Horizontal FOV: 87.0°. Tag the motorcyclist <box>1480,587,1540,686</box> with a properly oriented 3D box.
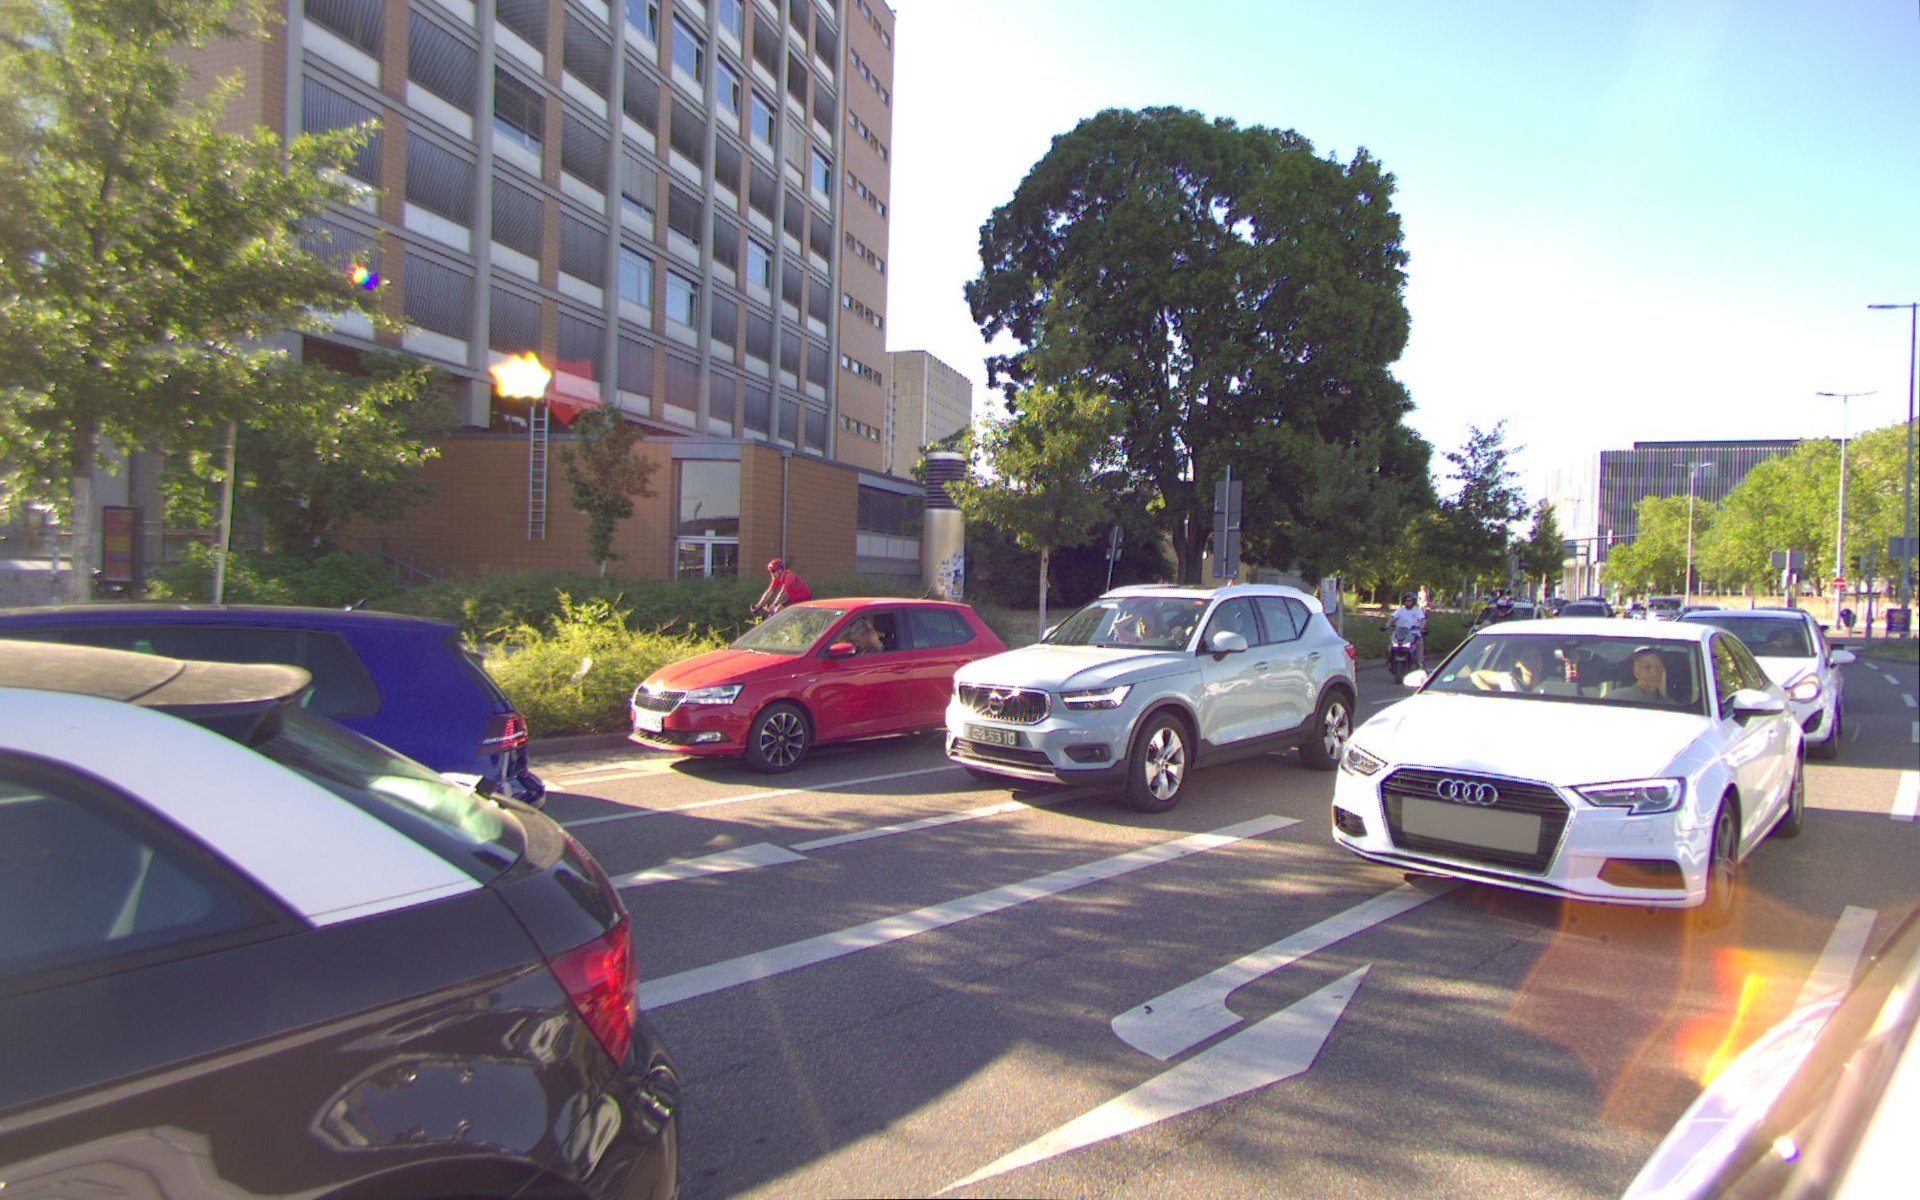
[{"bbox_3d":[9.205,0.595,16.937,0.709,1.610,0.679,0,0,45],"label":"motorcyclist"}]

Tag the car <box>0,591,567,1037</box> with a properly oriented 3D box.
[{"bbox_3d":[-3.726,0.686,3.758,3.930,1.422,1.626,-1,0,-41],"label":"car"}]

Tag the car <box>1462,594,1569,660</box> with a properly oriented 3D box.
[{"bbox_3d":[14.492,0.631,26.314,1.738,1.544,3.943,2,2,39],"label":"car"}]

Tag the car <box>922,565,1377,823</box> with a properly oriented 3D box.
[{"bbox_3d":[1.773,0.571,8.465,4.153,1.641,1.625,-1,0,-43],"label":"car"}]

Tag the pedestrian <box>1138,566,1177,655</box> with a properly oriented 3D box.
[{"bbox_3d":[4.315,0.226,22.078,0.681,1.910,0.465,0,0,-24],"label":"pedestrian"}]

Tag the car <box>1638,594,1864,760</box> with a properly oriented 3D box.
[{"bbox_3d":[8.872,0.691,11.231,1.623,1.478,3.979,0,1,43],"label":"car"}]

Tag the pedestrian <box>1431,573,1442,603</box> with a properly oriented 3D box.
[{"bbox_3d":[26.697,-0.671,56.699,0.543,1.627,0.598,0,0,30],"label":"pedestrian"}]

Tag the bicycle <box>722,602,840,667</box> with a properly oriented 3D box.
[{"bbox_3d":[-3.002,0.559,17.134,0.657,0.975,2.005,2,2,41],"label":"bicycle"}]

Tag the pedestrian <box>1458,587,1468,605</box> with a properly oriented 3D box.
[{"bbox_3d":[55.880,-0.475,112.495,0.828,2.039,1.061,0,0,19],"label":"pedestrian"}]

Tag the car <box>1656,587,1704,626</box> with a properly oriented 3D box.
[{"bbox_3d":[36.238,0.307,51.029,1.867,1.838,3.950,2,1,35],"label":"car"}]

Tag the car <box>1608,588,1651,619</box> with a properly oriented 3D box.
[{"bbox_3d":[40.264,0.173,60.922,1.730,1.727,3.961,2,1,28],"label":"car"}]

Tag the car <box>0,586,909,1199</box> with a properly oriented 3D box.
[{"bbox_3d":[-2.102,0.702,1.207,3.930,1.422,1.626,-1,0,-41],"label":"car"}]

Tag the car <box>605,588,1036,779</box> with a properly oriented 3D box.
[{"bbox_3d":[-1.193,0.632,9.850,3.974,1.478,1.625,-1,0,-43],"label":"car"}]

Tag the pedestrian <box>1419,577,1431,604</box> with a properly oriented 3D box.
[{"bbox_3d":[26.164,-0.541,56.924,0.543,1.549,0.598,0,0,30],"label":"pedestrian"}]

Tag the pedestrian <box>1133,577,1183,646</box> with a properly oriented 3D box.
[{"bbox_3d":[5.139,0.277,26.258,1.005,1.742,0.873,0,0,39],"label":"pedestrian"}]

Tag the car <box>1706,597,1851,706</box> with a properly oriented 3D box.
[{"bbox_3d":[13.110,0.713,16.127,1.622,1.478,3.981,0,0,42],"label":"car"}]

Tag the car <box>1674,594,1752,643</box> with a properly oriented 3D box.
[{"bbox_3d":[29.128,0.646,39.252,1.730,1.727,3.962,2,1,27],"label":"car"}]

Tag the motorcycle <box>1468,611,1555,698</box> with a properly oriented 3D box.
[{"bbox_3d":[9.292,0.868,17.011,0.716,1.321,2.199,0,0,44],"label":"motorcycle"}]

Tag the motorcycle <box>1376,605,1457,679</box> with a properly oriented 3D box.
[{"bbox_3d":[8.834,0.769,19.530,0.716,1.321,2.199,0,0,44],"label":"motorcycle"}]

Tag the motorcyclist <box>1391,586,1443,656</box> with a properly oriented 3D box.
[{"bbox_3d":[8.830,0.394,19.561,0.716,1.321,0.724,0,0,45],"label":"motorcyclist"}]

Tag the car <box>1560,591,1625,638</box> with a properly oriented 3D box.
[{"bbox_3d":[23.246,0.483,37.118,1.736,1.564,3.948,2,1,36],"label":"car"}]

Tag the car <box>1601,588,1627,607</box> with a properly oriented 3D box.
[{"bbox_3d":[65.507,-0.233,101.346,1.863,1.838,3.959,2,1,29],"label":"car"}]

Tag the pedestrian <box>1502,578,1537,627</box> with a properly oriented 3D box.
[{"bbox_3d":[23.800,0.104,43.042,1.137,2.039,1.268,0,0,39],"label":"pedestrian"}]

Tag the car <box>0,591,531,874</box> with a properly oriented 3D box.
[{"bbox_3d":[-5.137,0.671,6.060,4.433,1.422,1.726,-1,0,-41],"label":"car"}]

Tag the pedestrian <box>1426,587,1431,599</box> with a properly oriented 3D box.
[{"bbox_3d":[62.058,-0.920,134.079,0.477,1.504,0.409,1,1,-41],"label":"pedestrian"}]

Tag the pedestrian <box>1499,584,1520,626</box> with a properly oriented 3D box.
[{"bbox_3d":[21.199,0.177,39.066,0.593,1.615,0.586,0,0,41],"label":"pedestrian"}]

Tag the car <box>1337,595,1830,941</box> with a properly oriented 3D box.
[{"bbox_3d":[3.945,0.692,6.126,3.769,1.422,1.625,-1,0,-43],"label":"car"}]

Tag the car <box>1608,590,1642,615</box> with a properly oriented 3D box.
[{"bbox_3d":[51.318,0.144,78.156,1.863,1.838,3.959,2,1,29],"label":"car"}]

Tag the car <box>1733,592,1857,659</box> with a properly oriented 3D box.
[{"bbox_3d":[21.906,0.612,26.710,1.731,1.564,3.960,2,1,29],"label":"car"}]

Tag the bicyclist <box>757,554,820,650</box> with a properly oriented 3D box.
[{"bbox_3d":[-2.919,0.024,17.219,0.615,1.580,0.858,0,0,42],"label":"bicyclist"}]

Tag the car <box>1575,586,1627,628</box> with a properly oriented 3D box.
[{"bbox_3d":[30.076,0.303,47.468,1.867,1.838,3.950,2,1,35],"label":"car"}]
